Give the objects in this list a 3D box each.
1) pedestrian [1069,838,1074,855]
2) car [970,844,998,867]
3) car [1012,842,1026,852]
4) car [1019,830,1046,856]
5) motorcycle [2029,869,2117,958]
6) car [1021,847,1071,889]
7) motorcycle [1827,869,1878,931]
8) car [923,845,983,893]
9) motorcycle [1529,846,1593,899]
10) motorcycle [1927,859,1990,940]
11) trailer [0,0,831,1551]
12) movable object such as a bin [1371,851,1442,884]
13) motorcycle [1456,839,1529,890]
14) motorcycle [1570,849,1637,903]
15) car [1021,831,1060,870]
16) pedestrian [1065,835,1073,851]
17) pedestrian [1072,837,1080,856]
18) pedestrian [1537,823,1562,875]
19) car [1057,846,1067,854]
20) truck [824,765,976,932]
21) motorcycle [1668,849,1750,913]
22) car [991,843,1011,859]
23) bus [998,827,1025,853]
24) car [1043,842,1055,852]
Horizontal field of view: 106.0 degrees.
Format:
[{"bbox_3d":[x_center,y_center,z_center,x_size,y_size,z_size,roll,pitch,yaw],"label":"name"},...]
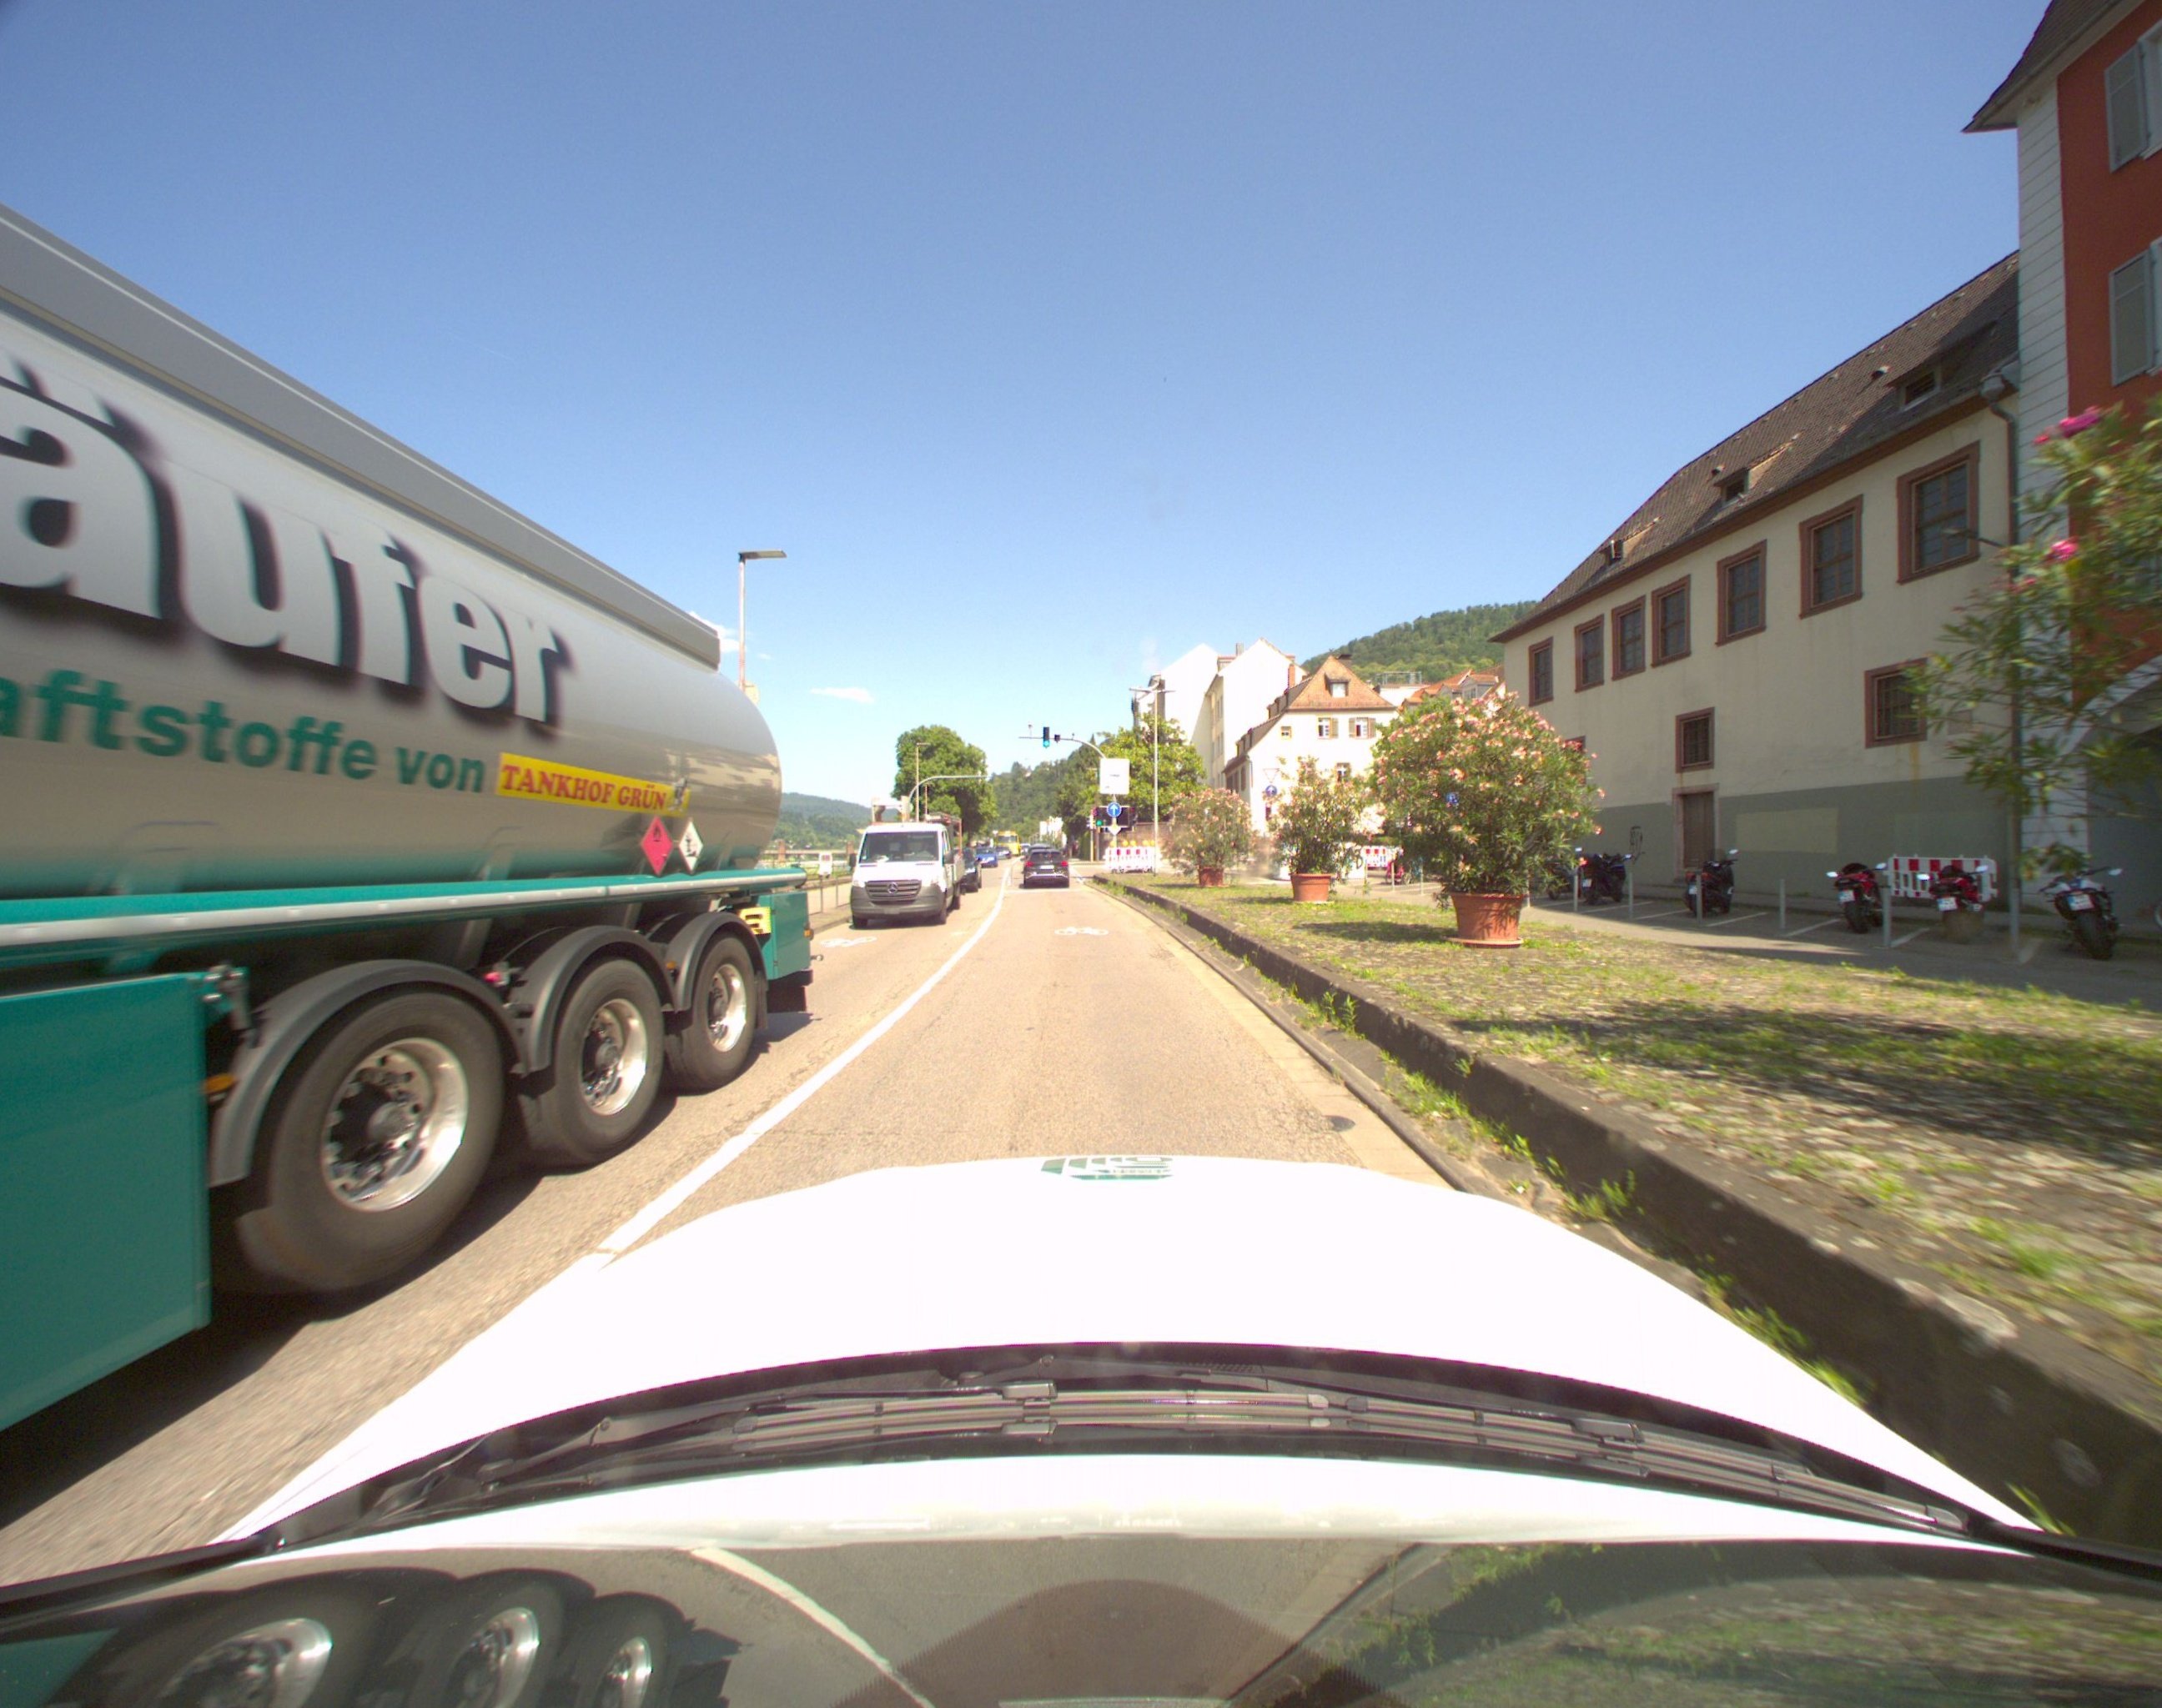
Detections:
[{"bbox_3d":[-0.967,-0.724,80.409,0.454,1.606,0.579,0,0,-2],"label":"pedestrian"},{"bbox_3d":[-6.729,0.068,56.432,1.807,1.508,3.990,-1,1,-8],"label":"car"},{"bbox_3d":[-9.064,-1.012,119.768,1.811,1.398,4.343,-2,1,-3],"label":"car"},{"bbox_3d":[-4.106,-0.903,69.573,1.987,2.014,3.998,3,-1,-1],"label":"car"},{"bbox_3d":[13.941,0.790,11.489,2.210,1.076,0.621,-1,0,-43],"label":"motorcycle"},{"bbox_3d":[-1.471,0.506,32.727,1.854,1.523,3.994,-1,1,-5],"label":"car"},{"bbox_3d":[13.810,0.792,14.568,1.943,0.986,0.541,-1,0,-43],"label":"motorcycle"},{"bbox_3d":[-4.848,0.514,31.420,1.859,1.681,4.447,-2,1,-4],"label":"car"},{"bbox_3d":[13.091,0.488,22.193,2.246,1.252,0.622,-4,5,-35],"label":"motorcycle"},{"bbox_3d":[13.970,0.677,12.985,2.210,1.148,0.621,-1,0,-43],"label":"motorcycle"},{"bbox_3d":[-3.728,-0.224,1.773,2.515,3.644,11.532,-2,0,1],"label":"trailer"},{"bbox_3d":[12.211,0.490,30.494,2.971,1.110,1.243,-2,1,-40],"label":"movable object such as a bin"},{"bbox_3d":[12.968,0.306,25.635,2.509,1.533,1.042,-1,0,-38],"label":"motorcycle"},{"bbox_3d":[13.184,0.532,20.514,2.207,1.267,0.621,-1,0,-35],"label":"motorcycle"},{"bbox_3d":[-2.274,-0.138,45.101,1.990,2.014,3.994,-1,-1,-4],"label":"car"},{"bbox_3d":[-1.222,-1.119,82.243,0.733,1.634,0.920,-1,1,-2],"label":"pedestrian"},{"bbox_3d":[-0.499,-0.719,78.984,0.679,1.742,0.912,0,0,-3],"label":"pedestrian"},{"bbox_3d":[16.908,-0.172,29.404,0.493,1.823,0.618,-1,-1,-2],"label":"pedestrian"},{"bbox_3d":[-3.885,-0.851,164.215,1.988,1.453,4.005,-1,-1,-2],"label":"car"},{"bbox_3d":[-4.178,-0.157,20.394,2.371,3.261,7.601,-3,1,-4],"label":"truck"},{"bbox_3d":[13.465,0.552,17.436,2.192,1.267,0.775,-1,0,-35],"label":"motorcycle"},{"bbox_3d":[-7.608,-0.312,77.461,1.805,1.406,4.350,-1,1,-5],"label":"car"},{"bbox_3d":[-7.982,-1.638,94.600,2.590,2.896,8.441,-1,1,-2],"label":"bus"},{"bbox_3d":[-4.704,-1.034,119.089,1.791,1.482,3.996,0,0,-2],"label":"car"}]
